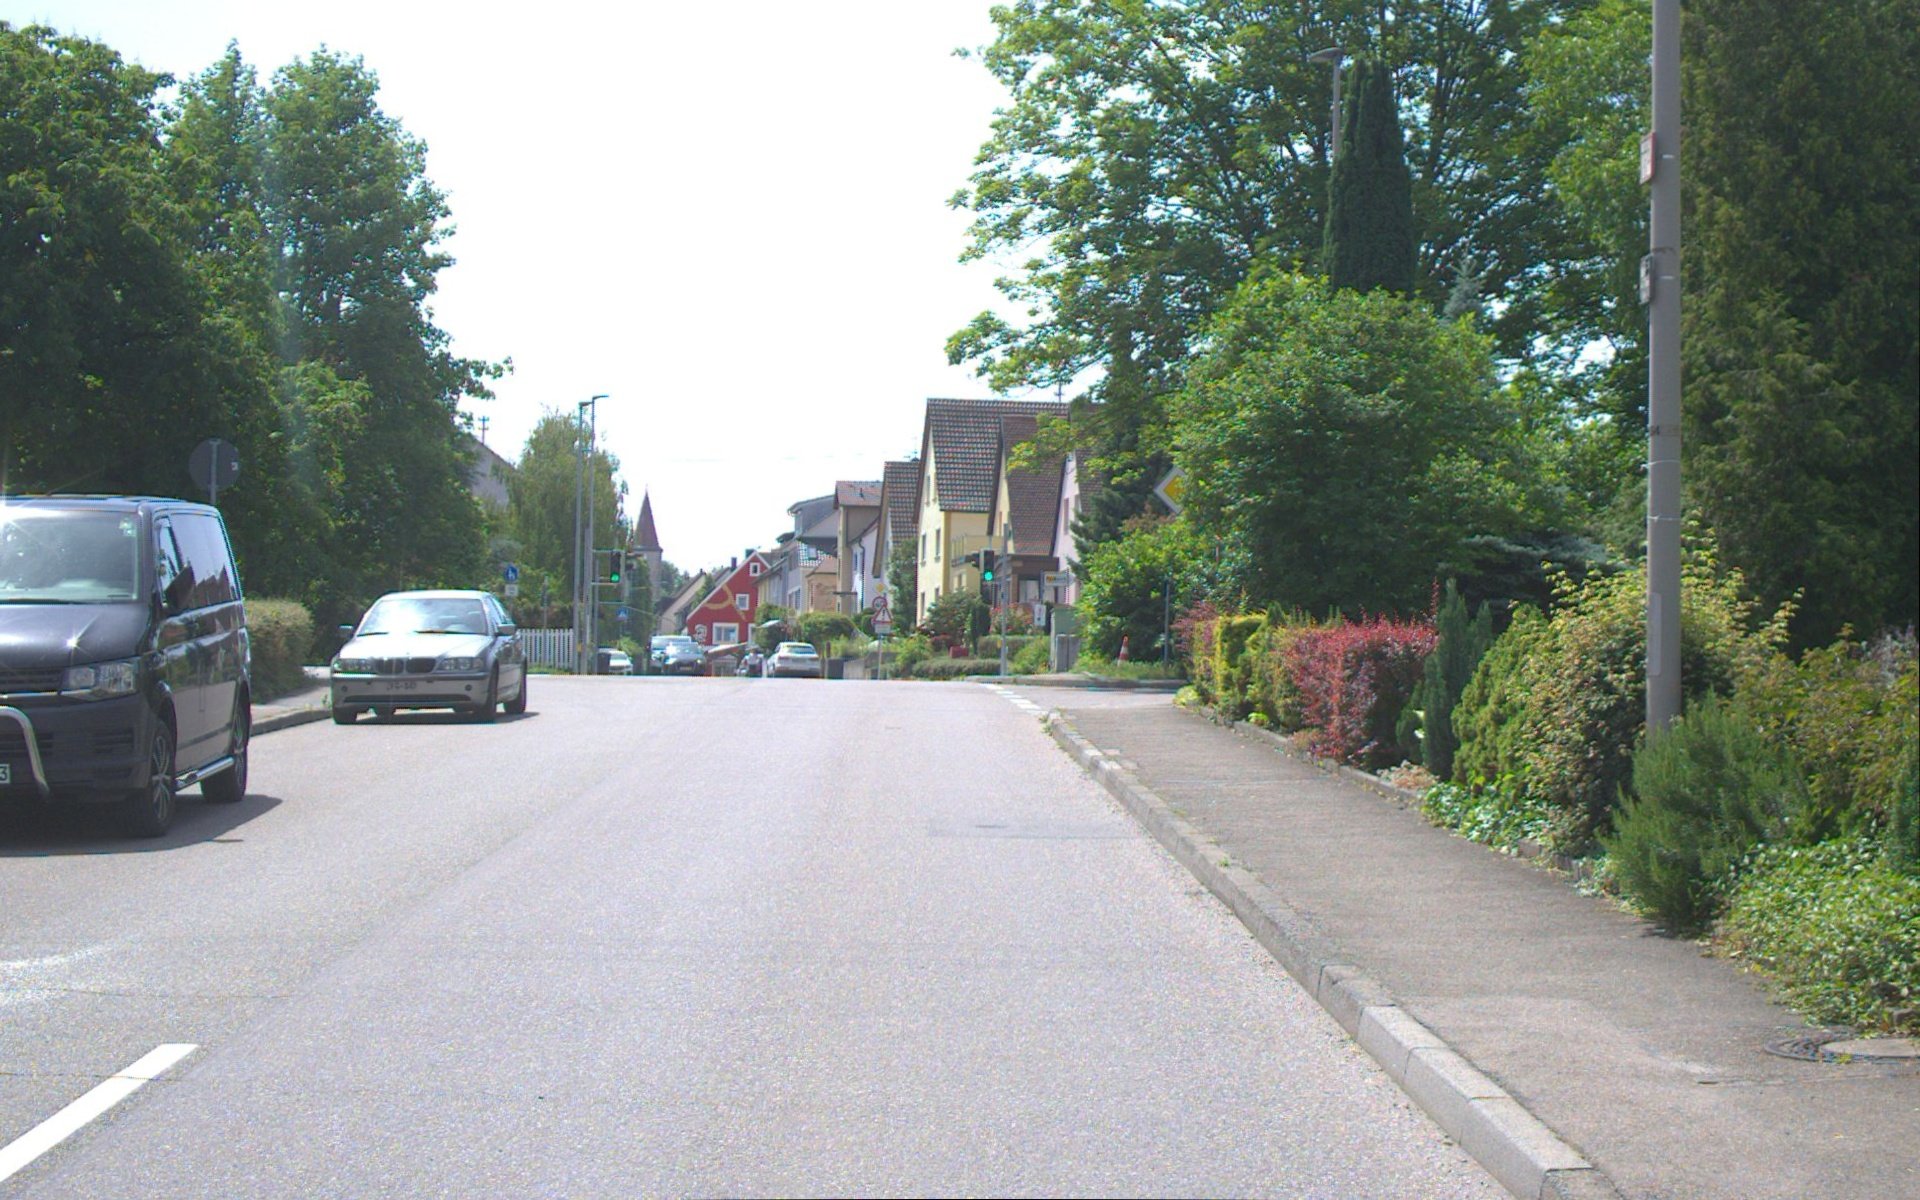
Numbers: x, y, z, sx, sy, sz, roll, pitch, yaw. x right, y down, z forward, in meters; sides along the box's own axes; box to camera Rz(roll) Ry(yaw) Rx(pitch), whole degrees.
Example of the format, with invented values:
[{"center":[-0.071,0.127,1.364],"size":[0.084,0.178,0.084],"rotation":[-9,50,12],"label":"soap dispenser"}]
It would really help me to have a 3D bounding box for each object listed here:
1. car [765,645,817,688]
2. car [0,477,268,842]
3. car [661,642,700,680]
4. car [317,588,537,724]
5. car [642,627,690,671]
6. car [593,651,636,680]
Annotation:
[{"center":[-6.596,2.598,134.211],"size":[1.993,1.598,4.000],"rotation":[0,0,-2],"label":"car"},{"center":[-5.453,0.307,20.544],"size":[1.896,1.914,4.871],"rotation":[-1,0,-3],"label":"car"},{"center":[-11.702,2.539,143.917],"size":[1.534,1.536,4.305],"rotation":[1,-1,-6],"label":"car"},{"center":[-5.753,0.602,37.551],"size":[1.780,1.390,4.409],"rotation":[0,-1,-1],"label":"car"},{"center":[-13.276,2.203,154.989],"size":[1.879,1.958,4.903],"rotation":[0,-1,-8],"label":"car"},{"center":[-18.622,3.535,185.390],"size":[2.110,1.555,4.314],"rotation":[1,-1,-3],"label":"car"}]
